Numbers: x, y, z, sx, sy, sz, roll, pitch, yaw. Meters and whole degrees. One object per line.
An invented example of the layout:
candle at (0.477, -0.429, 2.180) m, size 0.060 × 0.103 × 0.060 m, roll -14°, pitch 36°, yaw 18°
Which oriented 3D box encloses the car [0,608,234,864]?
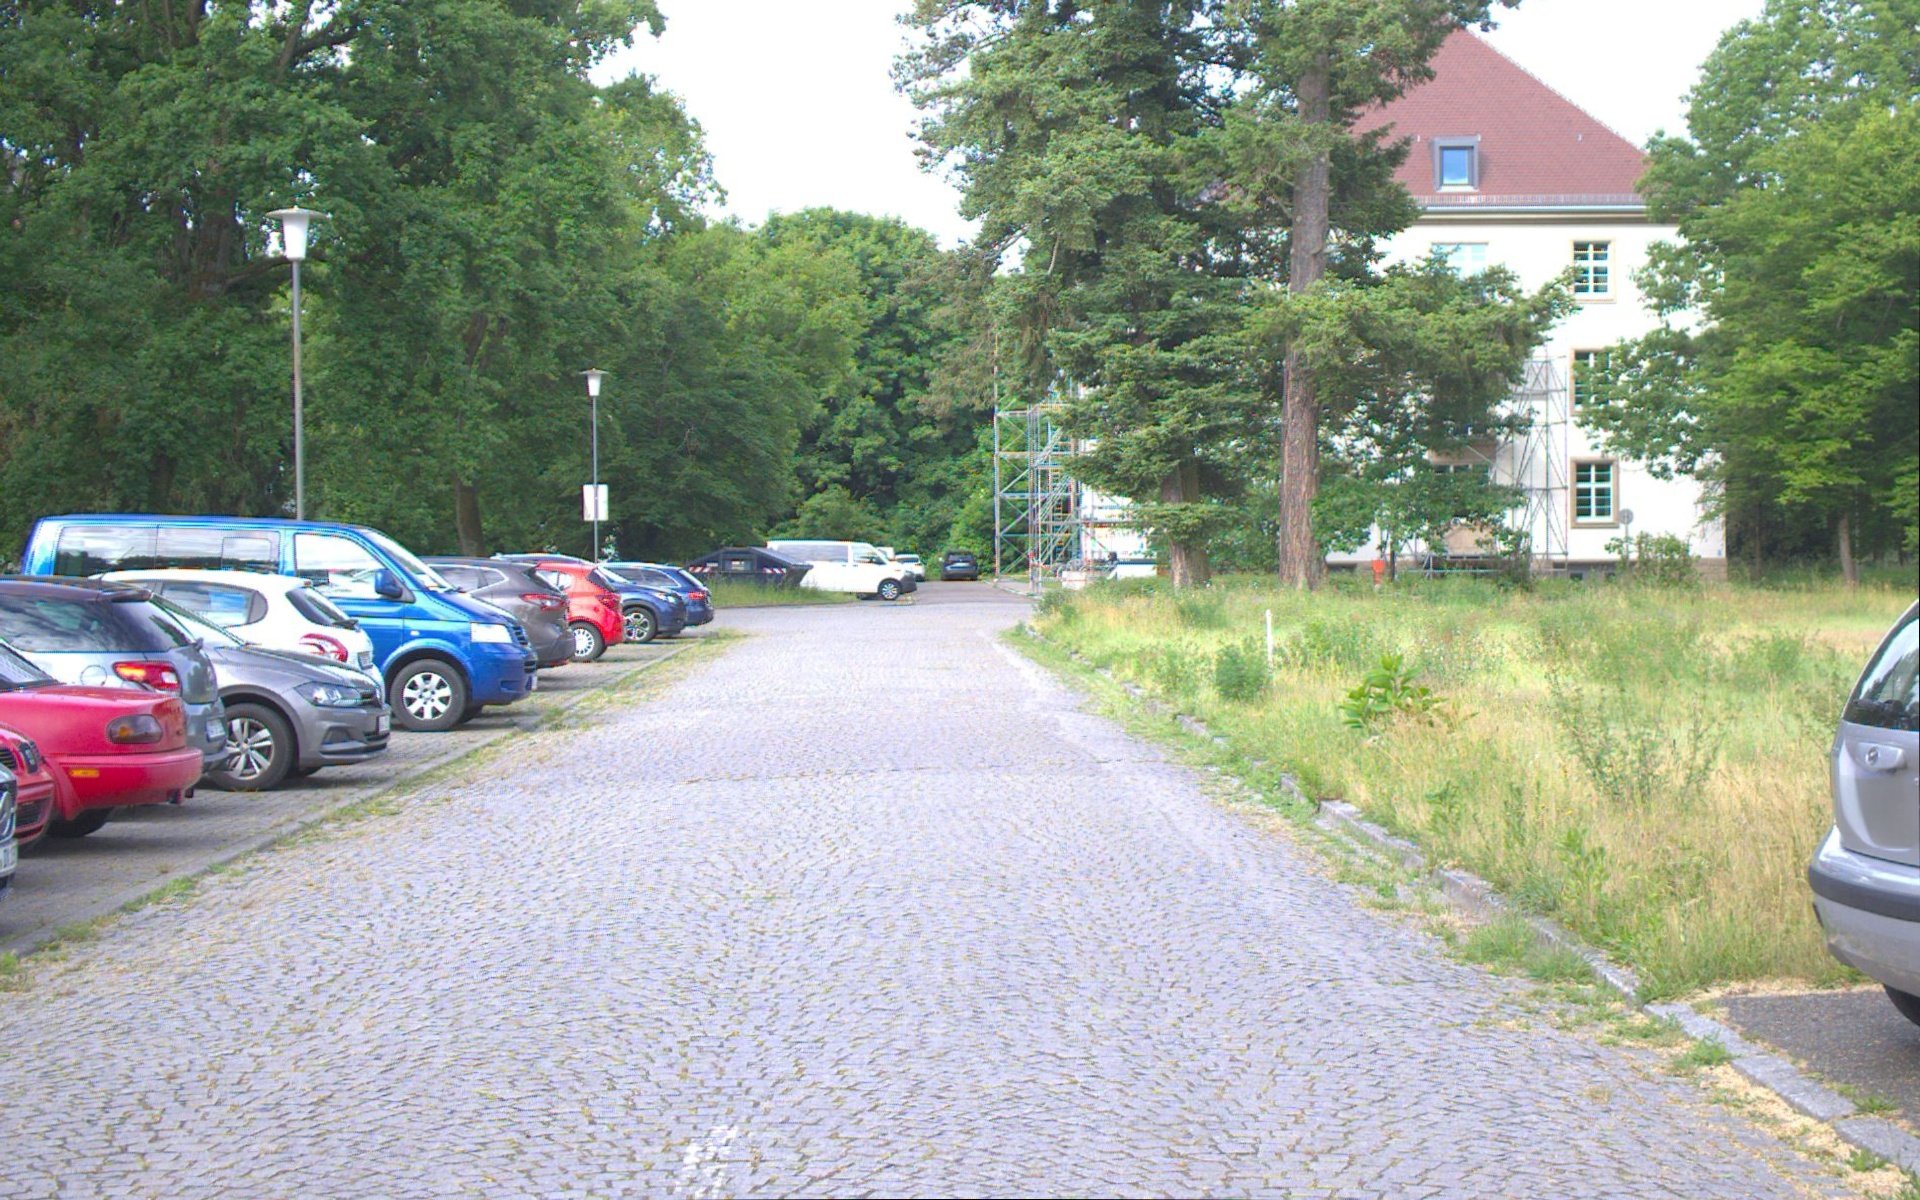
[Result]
car at (-6.195, 0.711, 18.681) m, size 4.131 × 1.279 × 1.764 m, roll 0°, pitch 1°, yaw -1°

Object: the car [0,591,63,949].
car at (-6.123, 0.697, 13.988) m, size 4.436 × 1.450 × 1.949 m, roll 0°, pitch 0°, yaw 0°

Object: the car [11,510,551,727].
car at (-6.317, 0.144, 32.404) m, size 4.709 × 1.974 × 2.038 m, roll 0°, pitch 1°, yaw -1°

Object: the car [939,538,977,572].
car at (-0.115, -2.381, 181.954) m, size 1.790 × 1.714 × 4.061 m, roll -1°, pitch -1°, yaw -2°

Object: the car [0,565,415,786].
car at (-6.144, 0.507, 24.244) m, size 4.304 × 1.475 × 1.731 m, roll 0°, pitch 1°, yaw 1°

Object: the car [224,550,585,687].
car at (-6.616, 0.200, 41.276) m, size 4.067 × 1.570 × 1.955 m, roll 0°, pitch 1°, yaw -2°

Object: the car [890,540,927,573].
car at (-2.733, -2.303, 181.603) m, size 1.790 × 1.630 × 4.061 m, roll -1°, pitch -1°, yaw -2°

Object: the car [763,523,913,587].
car at (-4.091, -1.494, 115.538) m, size 4.977 × 2.065 × 2.052 m, roll 0°, pitch -1°, yaw -2°

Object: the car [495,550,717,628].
car at (-6.824, -0.219, 66.536) m, size 4.071 × 1.462 × 1.626 m, roll 0°, pitch 1°, yaw 3°

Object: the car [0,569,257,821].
car at (-6.598, 0.559, 21.356) m, size 4.088 × 1.475 × 1.755 m, roll 0°, pitch 1°, yaw 0°

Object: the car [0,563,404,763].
car at (-6.544, 0.469, 27.106) m, size 4.005 × 1.496 × 1.843 m, roll 0°, pitch 1°, yaw 1°

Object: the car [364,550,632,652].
car at (-6.898, 0.000, 51.587) m, size 3.815 × 1.484 × 1.788 m, roll 0°, pitch 1°, yaw -2°

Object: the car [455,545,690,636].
car at (-6.935, -0.183, 61.837) m, size 4.071 × 1.598 × 1.788 m, roll 0°, pitch 1°, yaw -2°

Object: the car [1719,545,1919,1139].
car at (4.272, 0.523, 9.669) m, size 3.771 × 1.474 × 1.743 m, roll -3°, pitch 2°, yaw -4°

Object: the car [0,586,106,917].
car at (-6.404, 0.680, 16.295) m, size 4.254 × 1.450 × 1.855 m, roll 0°, pitch 1°, yaw -1°
